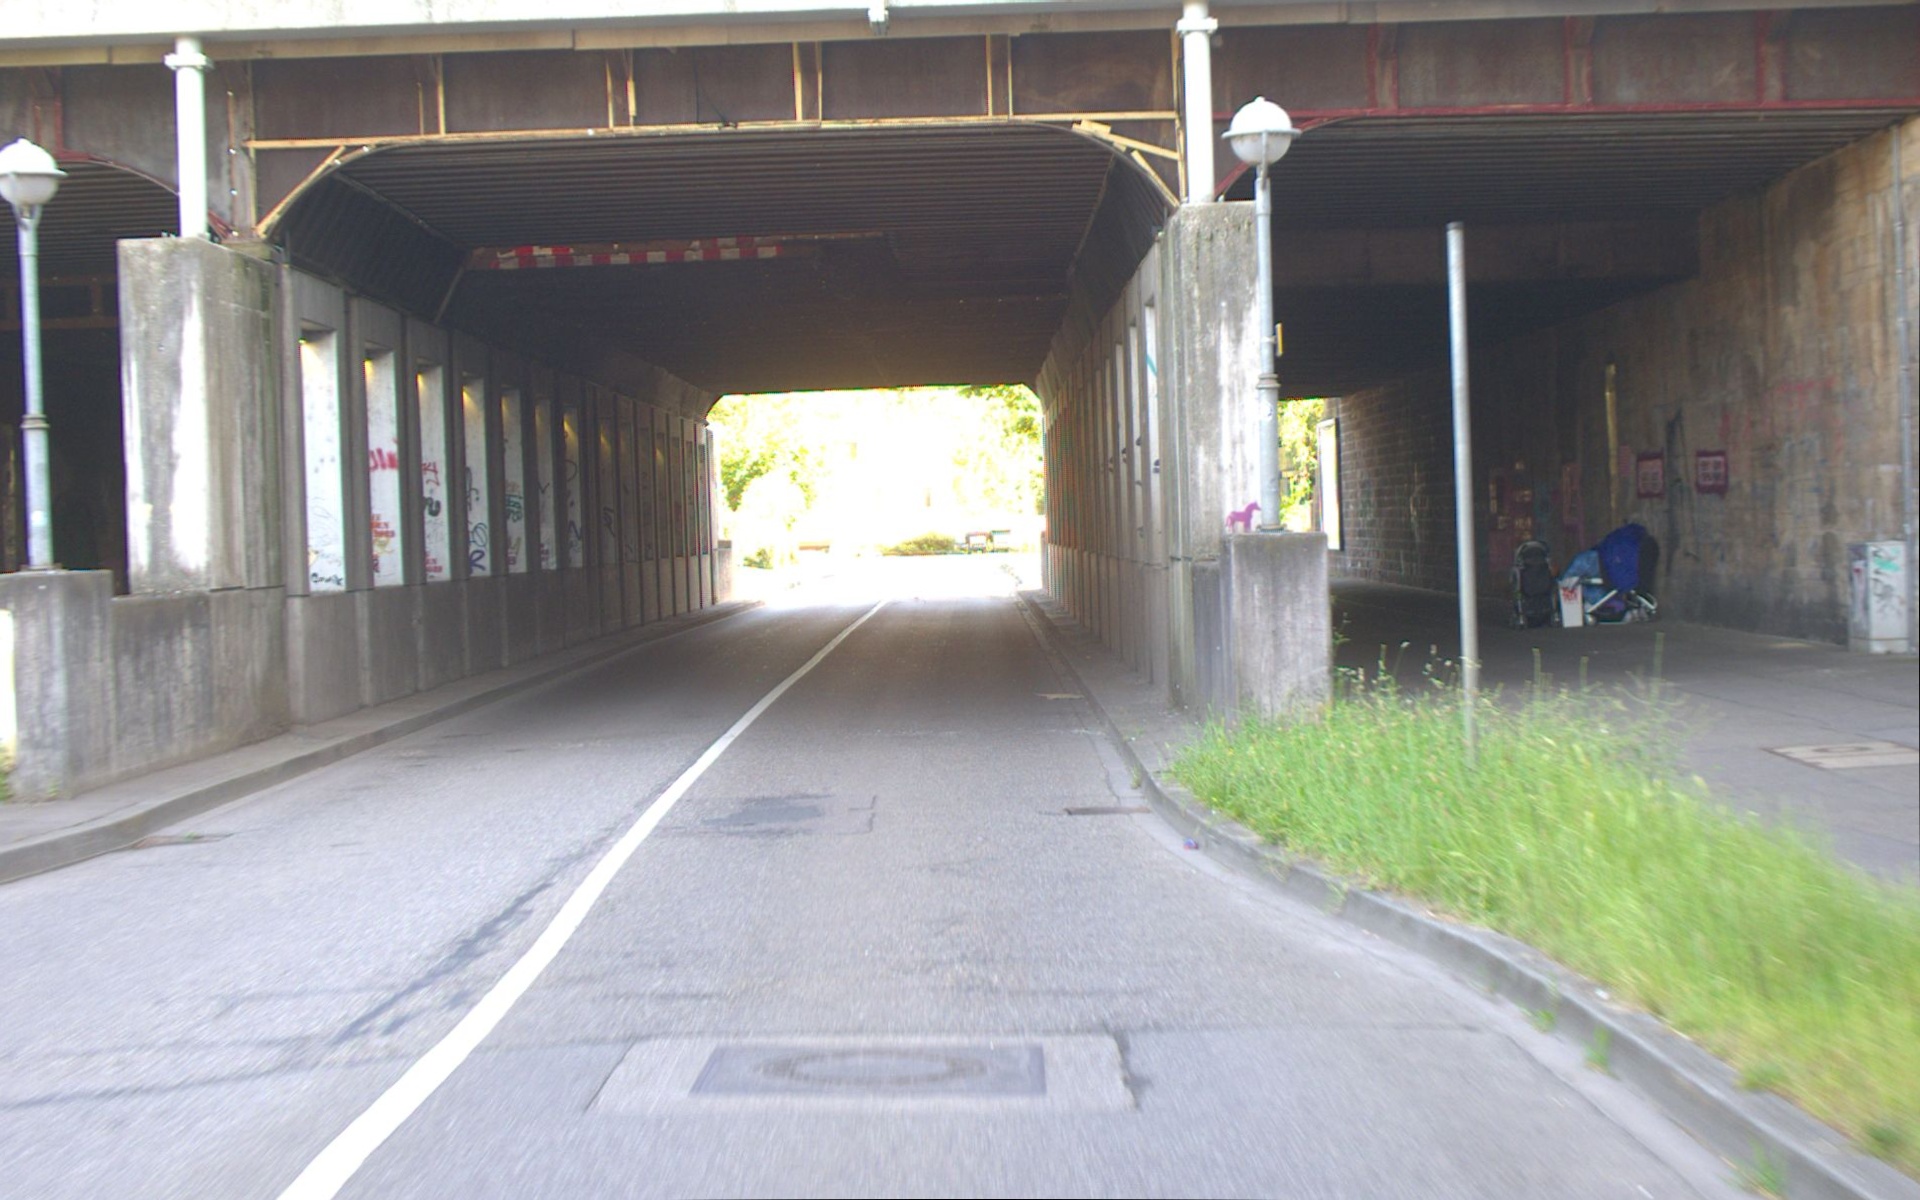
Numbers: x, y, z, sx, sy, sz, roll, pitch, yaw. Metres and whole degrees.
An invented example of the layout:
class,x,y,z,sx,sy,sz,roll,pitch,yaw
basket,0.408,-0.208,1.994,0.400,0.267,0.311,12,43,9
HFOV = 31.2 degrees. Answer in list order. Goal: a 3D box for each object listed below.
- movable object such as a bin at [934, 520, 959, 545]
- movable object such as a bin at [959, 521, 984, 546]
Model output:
class,x,y,z,sx,sy,sz,roll,pitch,yaw
movable object such as a bin,-0.776,-3.886,198.996,1.364,1.413,1.066,0,0,-7
movable object such as a bin,0.660,-3.876,199.170,1.364,1.413,1.066,0,0,-7
